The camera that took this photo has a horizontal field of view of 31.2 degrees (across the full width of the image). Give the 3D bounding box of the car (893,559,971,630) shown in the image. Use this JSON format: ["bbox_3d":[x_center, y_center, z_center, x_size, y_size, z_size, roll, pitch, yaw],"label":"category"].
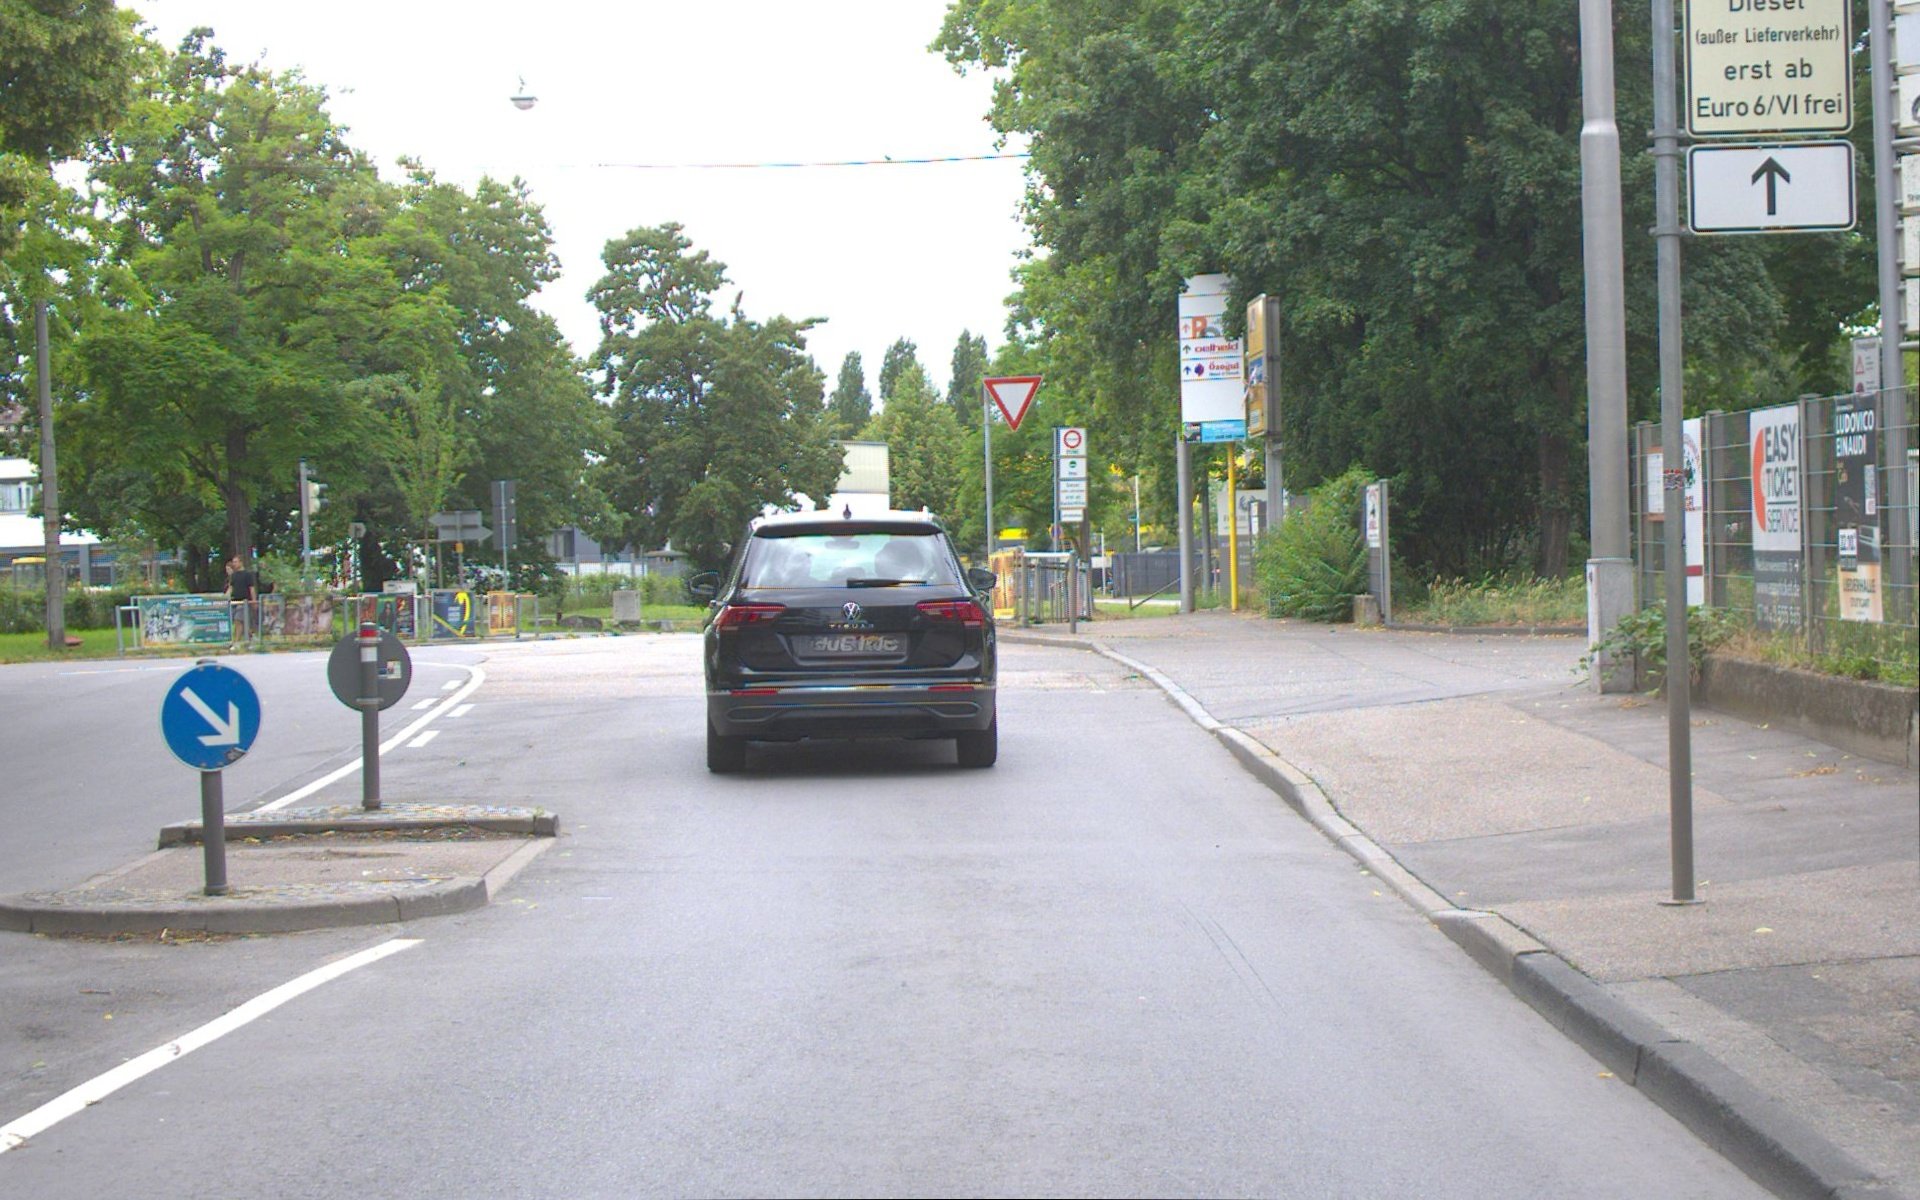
[{"bbox_3d":[-0.641,-0.144,81.451,1.659,1.569,3.828,-2,0,2],"label":"car"}]

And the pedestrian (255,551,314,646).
[{"bbox_3d":[-12.623,-0.033,64.217,0.743,1.736,0.726,-1,1,40],"label":"pedestrian"}]

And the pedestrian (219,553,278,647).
[{"bbox_3d":[-13.373,0.002,64.606,0.743,1.736,0.726,-1,1,40],"label":"pedestrian"}]

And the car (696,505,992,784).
[{"bbox_3d":[-0.747,0.214,22.240,1.739,1.612,3.642,-1,2,-2],"label":"car"}]

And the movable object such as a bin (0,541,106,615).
[{"bbox_3d":[-26.229,-0.643,99.239,1.995,2.007,2.397,-2,1,21],"label":"movable object such as a bin"}]

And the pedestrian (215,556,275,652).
[{"bbox_3d":[-13.234,0.076,63.627,0.743,1.736,0.726,-1,1,40],"label":"pedestrian"}]
